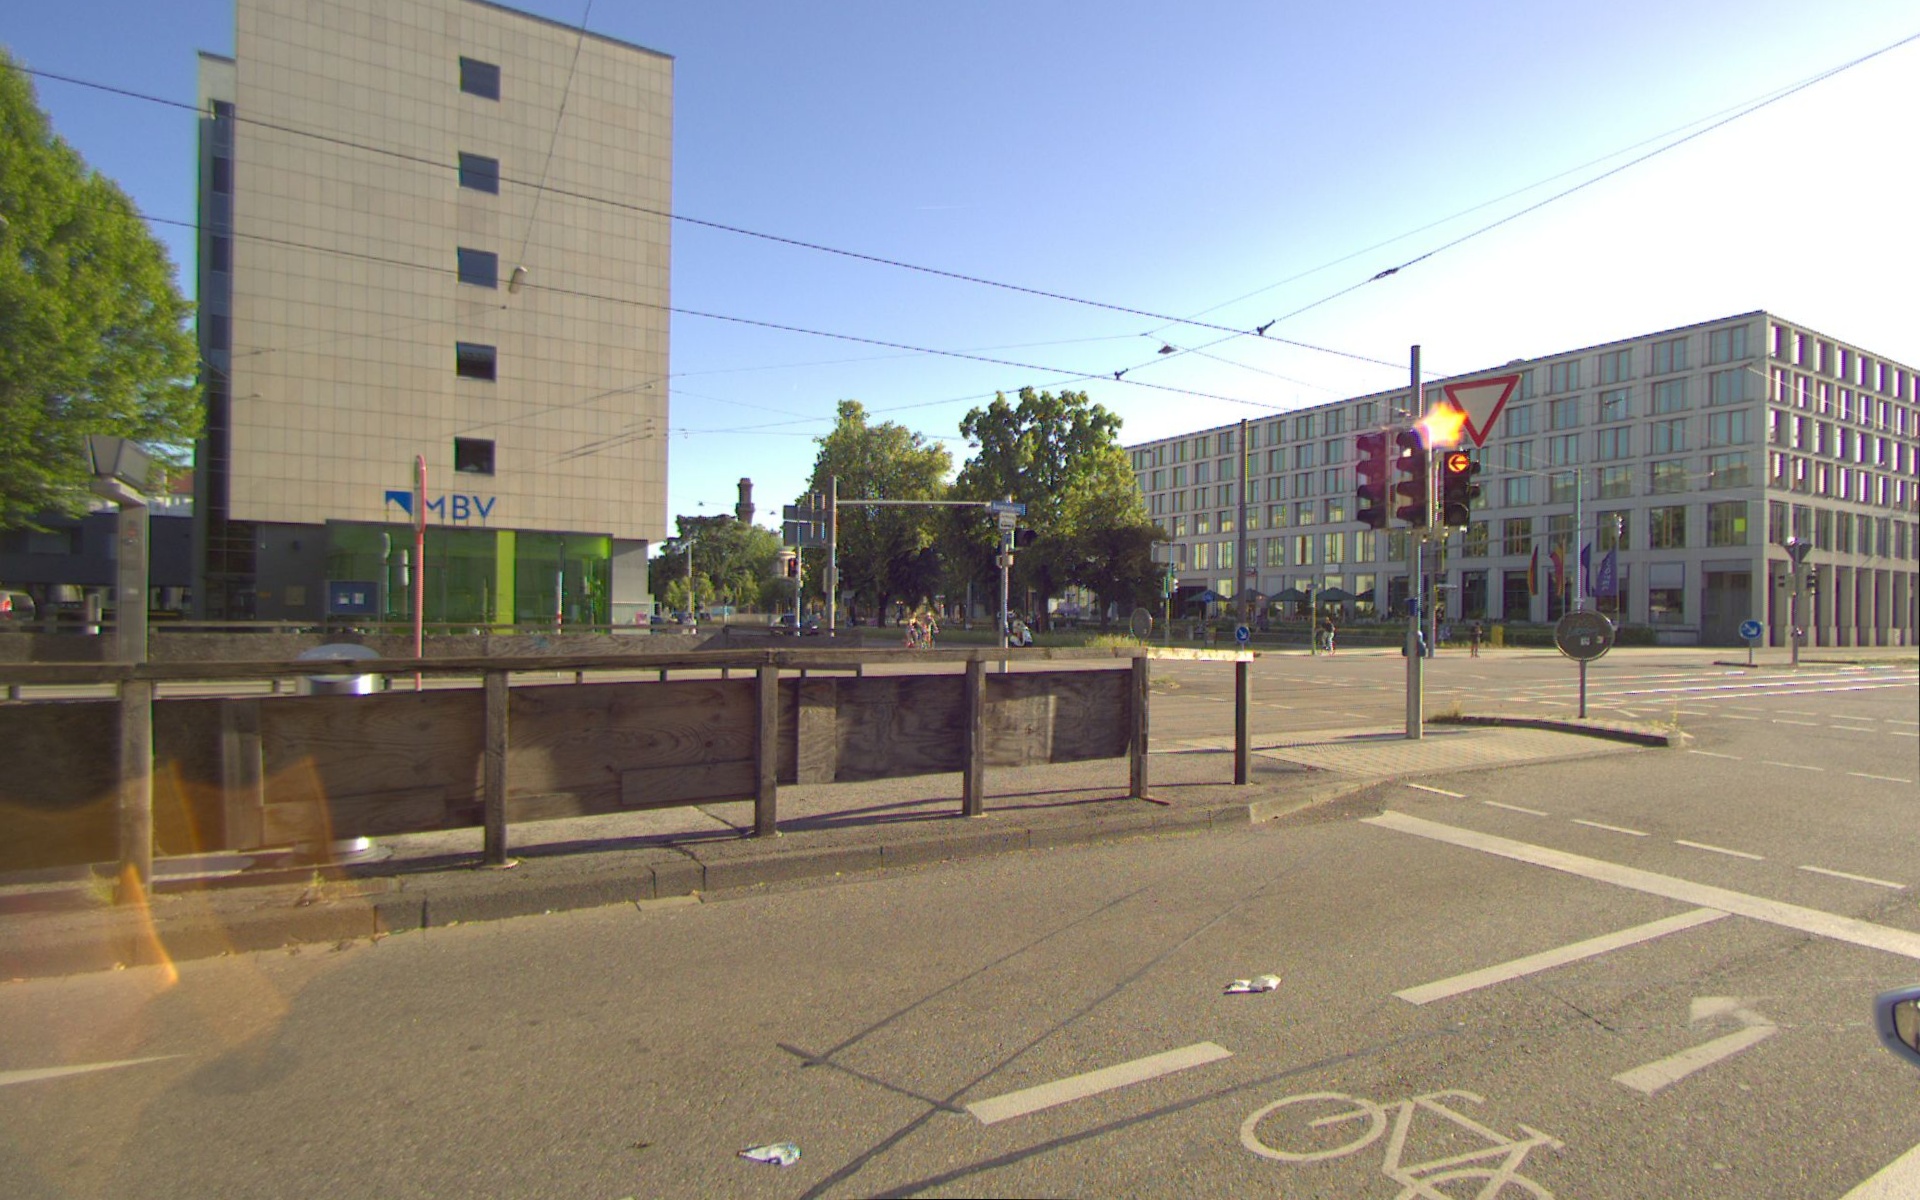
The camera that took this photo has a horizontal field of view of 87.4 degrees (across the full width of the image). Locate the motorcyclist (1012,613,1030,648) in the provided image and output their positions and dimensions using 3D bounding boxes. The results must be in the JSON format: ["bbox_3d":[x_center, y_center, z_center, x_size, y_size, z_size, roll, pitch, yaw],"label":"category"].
[{"bbox_3d":[2.836,1.425,46.892,0.561,1.598,0.643,1,-1,-33],"label":"motorcyclist"}]

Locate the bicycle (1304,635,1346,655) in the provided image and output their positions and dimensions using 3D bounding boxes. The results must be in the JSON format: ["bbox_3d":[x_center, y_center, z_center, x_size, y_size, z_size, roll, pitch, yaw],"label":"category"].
[{"bbox_3d":[17.927,2.207,49.356,1.831,0.947,0.761,1,-1,-13],"label":"bicycle"}]

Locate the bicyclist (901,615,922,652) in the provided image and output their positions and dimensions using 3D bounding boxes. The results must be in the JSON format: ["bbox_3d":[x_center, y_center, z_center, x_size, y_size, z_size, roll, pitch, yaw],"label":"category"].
[{"bbox_3d":[-2.023,1.397,41.955,0.647,1.544,0.615,1,-1,-32],"label":"bicyclist"}]

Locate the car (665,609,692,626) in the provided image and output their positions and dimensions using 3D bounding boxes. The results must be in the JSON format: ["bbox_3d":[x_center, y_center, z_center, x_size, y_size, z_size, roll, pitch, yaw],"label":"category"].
[{"bbox_3d":[-28.039,1.743,99.890,1.613,1.639,3.618,2,0,-32],"label":"car"}]

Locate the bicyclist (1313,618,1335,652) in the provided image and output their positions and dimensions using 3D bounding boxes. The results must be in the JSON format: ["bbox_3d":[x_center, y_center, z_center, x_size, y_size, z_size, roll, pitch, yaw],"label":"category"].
[{"bbox_3d":[17.889,1.718,49.371,0.764,1.610,0.759,1,-1,-13],"label":"bicyclist"}]

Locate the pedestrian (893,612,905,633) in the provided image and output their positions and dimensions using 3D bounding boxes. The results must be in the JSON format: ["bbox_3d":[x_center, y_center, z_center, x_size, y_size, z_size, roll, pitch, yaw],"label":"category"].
[{"bbox_3d":[-6.150,2.249,100.714,0.816,2.040,0.837,2,0,-33],"label":"pedestrian"}]

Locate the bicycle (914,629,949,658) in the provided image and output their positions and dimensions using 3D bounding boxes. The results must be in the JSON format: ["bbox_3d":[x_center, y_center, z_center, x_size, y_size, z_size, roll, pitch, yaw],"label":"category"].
[{"bbox_3d":[-1.220,1.820,42.132,0.616,1.148,1.869,1,-1,-31],"label":"bicycle"}]

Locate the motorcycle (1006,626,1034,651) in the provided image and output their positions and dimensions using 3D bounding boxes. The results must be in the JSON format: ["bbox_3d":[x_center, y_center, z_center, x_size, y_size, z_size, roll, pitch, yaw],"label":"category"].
[{"bbox_3d":[2.816,1.789,46.905,0.524,1.153,1.449,1,-1,-34],"label":"motorcycle"}]

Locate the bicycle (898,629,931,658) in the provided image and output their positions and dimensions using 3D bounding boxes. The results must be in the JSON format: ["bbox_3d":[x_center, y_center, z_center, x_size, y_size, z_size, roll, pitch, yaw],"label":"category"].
[{"bbox_3d":[-1.893,1.791,41.810,0.574,1.148,1.776,1,-1,-31],"label":"bicycle"}]

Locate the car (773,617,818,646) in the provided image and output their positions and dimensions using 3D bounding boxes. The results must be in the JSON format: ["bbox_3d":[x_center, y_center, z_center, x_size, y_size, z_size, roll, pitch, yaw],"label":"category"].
[{"bbox_3d":[-10.229,1.939,62.254,1.611,1.639,3.623,2,0,-28],"label":"car"}]

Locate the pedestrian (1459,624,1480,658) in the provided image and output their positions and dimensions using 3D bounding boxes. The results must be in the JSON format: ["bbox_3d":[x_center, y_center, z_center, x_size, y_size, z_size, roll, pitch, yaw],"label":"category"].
[{"bbox_3d":[24.915,1.997,49.115,0.586,1.610,0.769,1,-1,-38],"label":"pedestrian"}]

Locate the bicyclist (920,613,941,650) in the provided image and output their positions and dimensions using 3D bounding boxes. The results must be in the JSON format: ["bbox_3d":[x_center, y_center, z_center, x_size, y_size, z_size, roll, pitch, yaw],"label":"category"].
[{"bbox_3d":[-1.255,1.333,42.212,0.602,1.544,0.709,1,-1,-32],"label":"bicyclist"}]

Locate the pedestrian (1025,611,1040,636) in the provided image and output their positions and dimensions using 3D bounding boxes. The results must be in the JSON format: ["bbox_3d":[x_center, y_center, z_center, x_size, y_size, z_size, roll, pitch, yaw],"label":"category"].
[{"bbox_3d":[5.742,1.851,79.563,0.864,1.925,0.712,2,0,-29],"label":"pedestrian"}]
